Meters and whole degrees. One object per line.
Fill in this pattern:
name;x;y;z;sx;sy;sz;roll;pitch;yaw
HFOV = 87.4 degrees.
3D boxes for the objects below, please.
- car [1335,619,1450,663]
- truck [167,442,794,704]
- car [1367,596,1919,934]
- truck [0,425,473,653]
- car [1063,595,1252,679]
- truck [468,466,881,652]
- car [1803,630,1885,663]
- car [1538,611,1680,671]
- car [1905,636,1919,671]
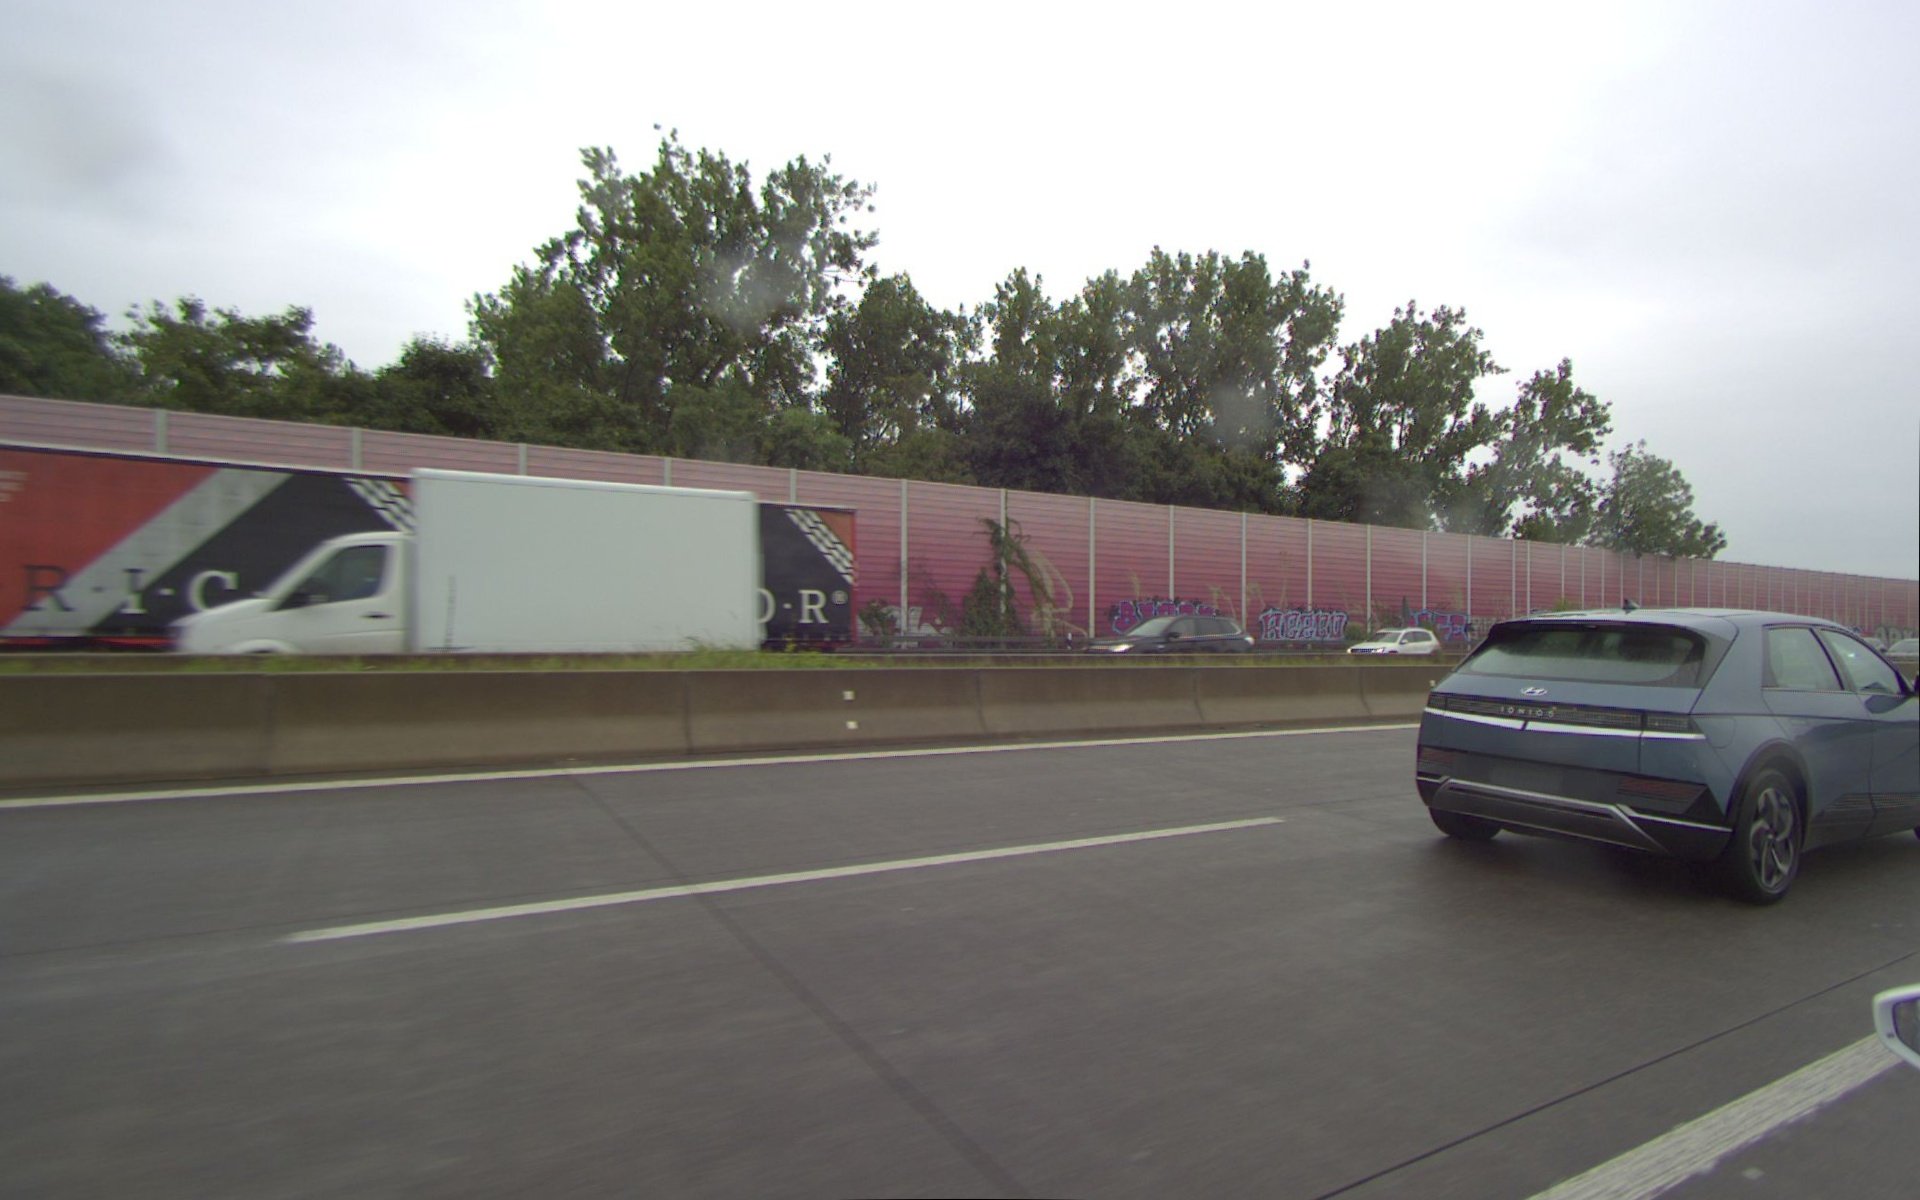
car;17.282;1.605;40.092;4.485;1.670;1.984;1;-2;-30
truck;-6.105;-0.243;13.800;7.194;2.866;2.255;1;1;-30
car;5.249;0.859;6.901;5.096;1.615;1.830;2;-1;-31
truck;-14.423;-0.924;17.486;10.494;3.537;2.767;1;0;-30
car;4.843;0.871;24.483;4.342;1.884;1.982;1;0;-33
truck;-6.161;-0.690;22.353;8.394;3.537;2.767;1;0;-30
car;47.231;2.457;53.655;4.485;1.670;1.984;1;-2;-30
car;22.235;1.370;34.324;5.482;1.884;1.982;1;0;-33
car;49.927;2.687;50.887;3.953;1.747;1.984;1;-2;-30
